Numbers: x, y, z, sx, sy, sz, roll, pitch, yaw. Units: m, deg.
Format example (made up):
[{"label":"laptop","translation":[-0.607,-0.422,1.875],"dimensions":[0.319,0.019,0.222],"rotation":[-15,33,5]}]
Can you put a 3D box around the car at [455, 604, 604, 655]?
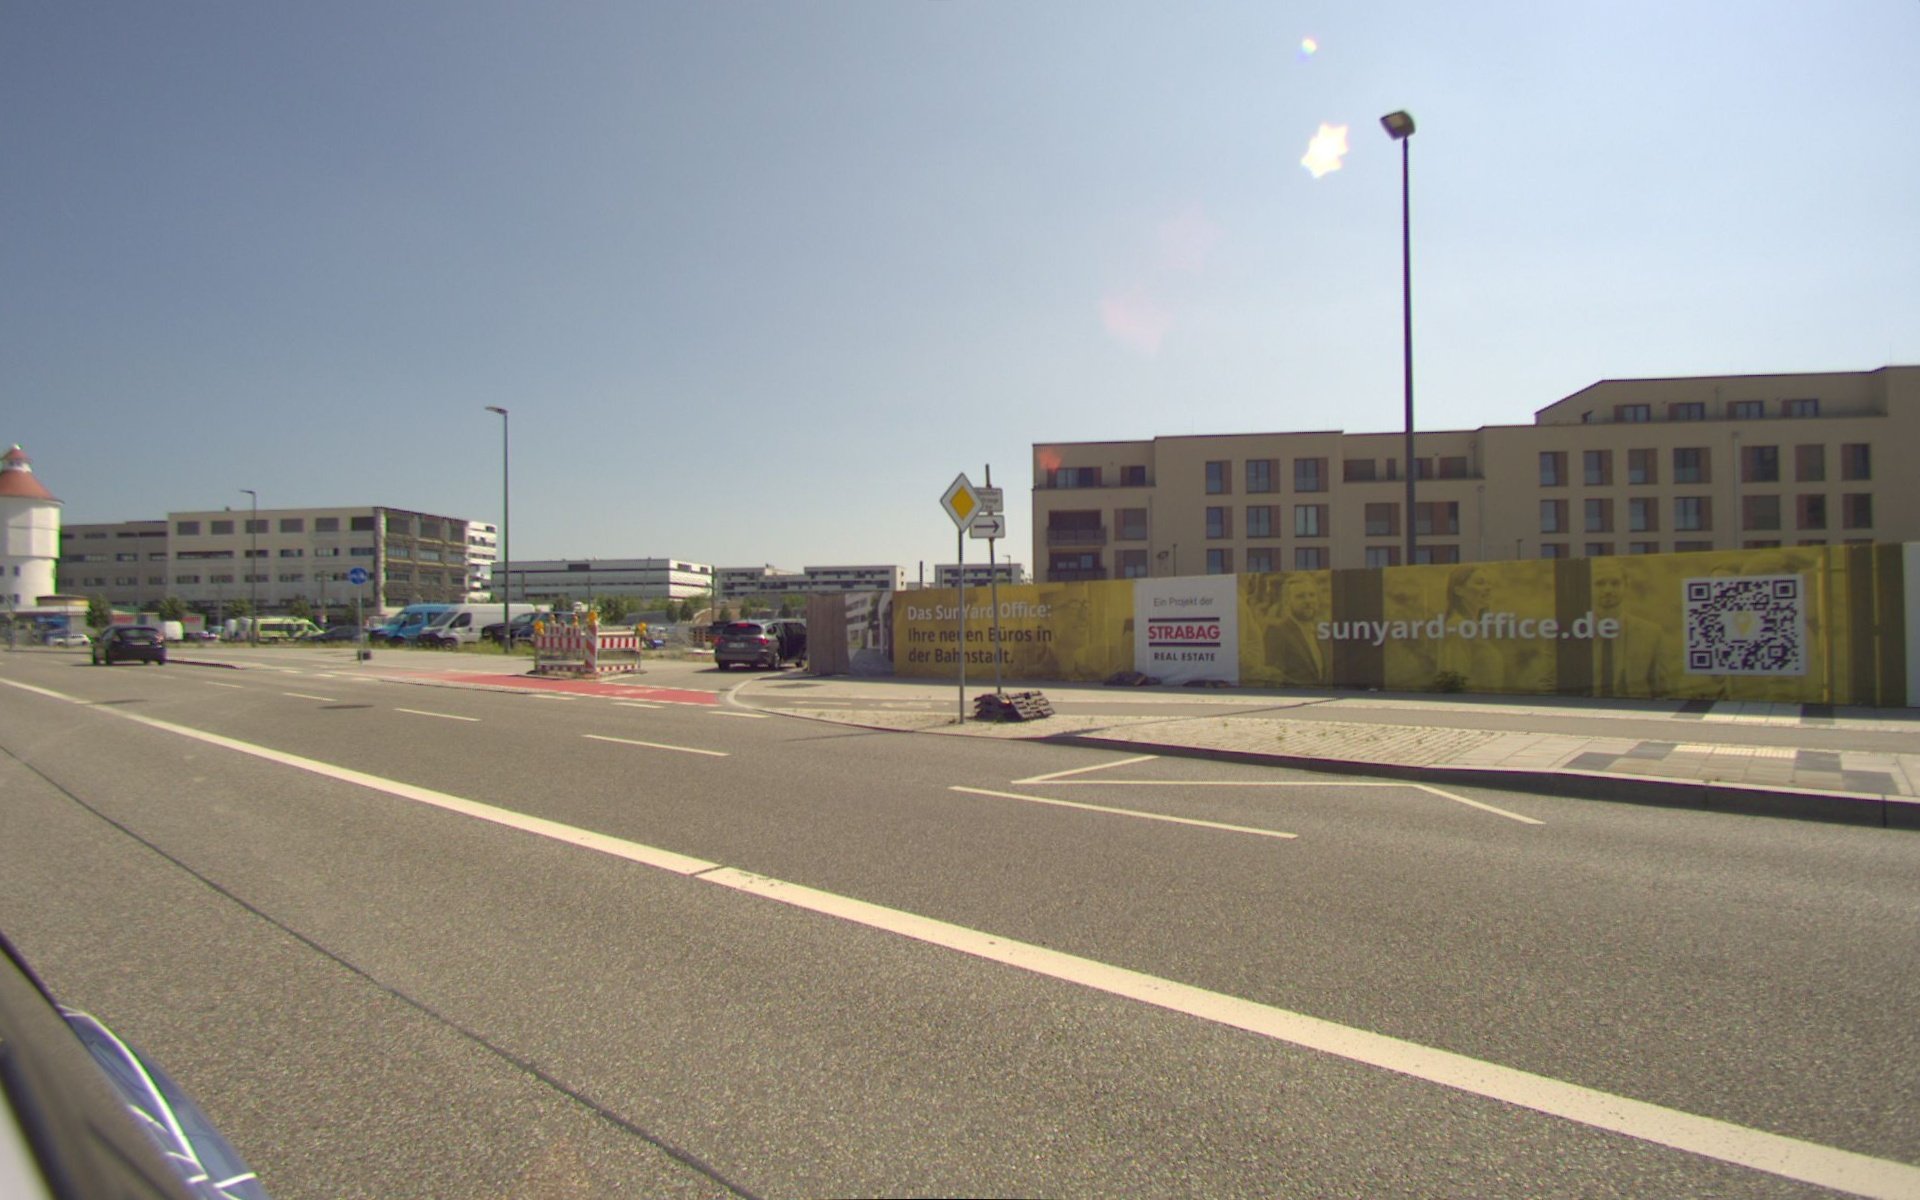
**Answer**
[{"label":"car","translation":[-19.554,1.329,46.223],"dimensions":[2.396,2.182,5.816],"rotation":[-2,-2,44]}]

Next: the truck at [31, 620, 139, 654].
[{"label":"truck","translation":[-119.711,5.006,138.764],"dimensions":[3.281,4.098,10.896],"rotation":[-1,0,23]}]

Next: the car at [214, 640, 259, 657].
[{"label":"car","translation":[-82.868,5.601,115.920],"dimensions":[1.654,1.771,3.830],"rotation":[-3,-1,37]}]

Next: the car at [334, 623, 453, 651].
[{"label":"car","translation":[-32.355,2.111,57.962],"dimensions":[2.104,1.485,5.596],"rotation":[-2,-2,38]}]

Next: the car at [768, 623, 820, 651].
[{"label":"car","translation":[-14.196,3.171,86.680],"dimensions":[3.950,2.258,1.996],"rotation":[-2,-1,6]}]

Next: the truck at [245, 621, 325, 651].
[{"label":"truck","translation":[-70.824,3.742,106.301],"dimensions":[2.599,2.847,6.573],"rotation":[-2,-1,38]}]

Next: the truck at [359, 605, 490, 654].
[{"label":"truck","translation":[-29.397,1.634,55.754],"dimensions":[2.274,2.563,5.942],"rotation":[-2,-3,41]}]

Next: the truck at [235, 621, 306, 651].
[{"label":"truck","translation":[-73.459,3.790,107.908],"dimensions":[2.568,2.845,5.777],"rotation":[-1,1,40]}]

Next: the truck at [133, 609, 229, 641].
[{"label":"truck","translation":[-114.657,3.578,149.185],"dimensions":[3.331,4.307,10.841],"rotation":[-1,0,29]}]

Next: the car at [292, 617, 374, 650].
[{"label":"car","translation":[-37.919,2.019,61.252],"dimensions":[3.938,1.918,1.830],"rotation":[1,-3,-42]}]

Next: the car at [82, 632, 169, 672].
[{"label":"car","translation":[-30.192,1.824,36.577],"dimensions":[4.454,1.362,1.686],"rotation":[-2,-2,41]}]

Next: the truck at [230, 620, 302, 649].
[{"label":"truck","translation":[-76.616,3.770,111.743],"dimensions":[2.570,2.923,6.081],"rotation":[-1,1,41]}]

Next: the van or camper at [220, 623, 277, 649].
[{"label":"van or camper","translation":[-80.110,4.043,113.991],"dimensions":[2.258,2.682,4.849],"rotation":[-3,-1,40]}]

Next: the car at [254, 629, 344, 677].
[{"label":"car","translation":[-21.857,1.718,33.411],"dimensions":[3.678,1.488,1.590],"rotation":[-1,-3,42]}]

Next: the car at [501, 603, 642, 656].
[{"label":"car","translation":[-17.123,1.304,44.848],"dimensions":[2.391,2.190,5.392],"rotation":[-2,-3,37]}]

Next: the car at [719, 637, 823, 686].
[{"label":"car","translation":[-5.550,1.787,30.239],"dimensions":[1.975,1.328,4.240],"rotation":[-1,-2,6]}]

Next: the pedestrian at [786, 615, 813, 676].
[{"label":"pedestrian","translation":[-4.647,1.308,29.275],"dimensions":[0.676,1.696,0.758],"rotation":[-1,0,-14]}]

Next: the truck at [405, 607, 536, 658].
[{"label":"truck","translation":[-24.409,1.630,50.672],"dimensions":[2.273,2.381,5.511],"rotation":[-2,-3,39]}]
